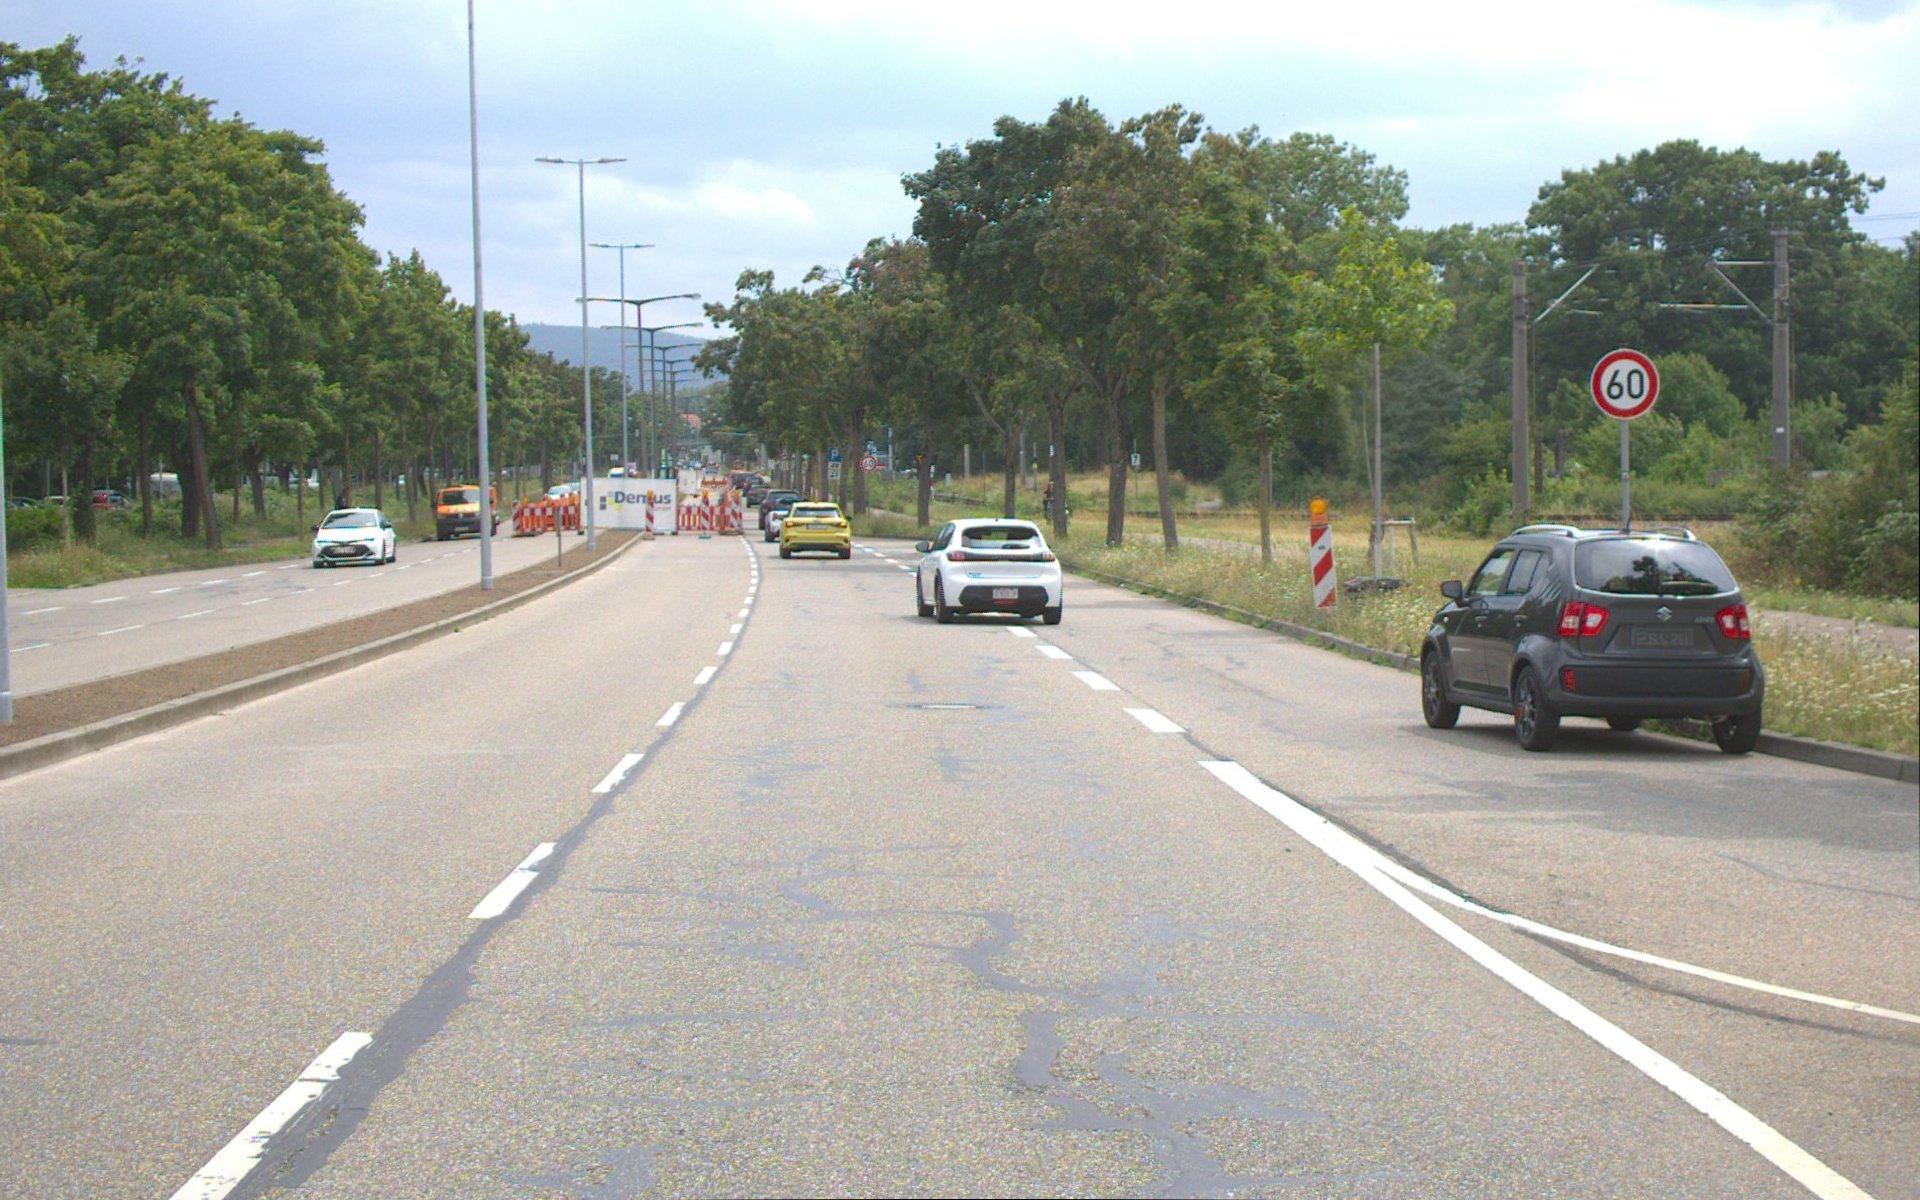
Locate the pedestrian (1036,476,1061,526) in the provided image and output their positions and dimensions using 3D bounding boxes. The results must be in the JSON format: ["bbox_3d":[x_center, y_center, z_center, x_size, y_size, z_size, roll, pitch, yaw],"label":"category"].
[{"bbox_3d":[3.019,-3.373,117.367,0.690,1.689,0.934,-1,2,-8],"label":"pedestrian"}]

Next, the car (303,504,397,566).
[{"bbox_3d":[-15.495,-1.675,87.472,1.716,1.415,4.161,-2,3,-2],"label":"car"}]

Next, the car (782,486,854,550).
[{"bbox_3d":[-3.642,-2.129,88.372,1.793,1.556,4.001,-1,3,-2],"label":"car"}]

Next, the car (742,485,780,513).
[{"bbox_3d":[-12.329,-6.286,213.358,2.206,1.678,4.001,0,3,-1],"label":"car"}]

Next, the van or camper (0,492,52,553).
[{"bbox_3d":[-43.839,-3.531,157.449,3.986,2.746,1.927,-1,2,-3],"label":"van or camper"}]

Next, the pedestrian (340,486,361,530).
[{"bbox_3d":[-25.922,-3.913,146.267,0.690,1.832,0.651,-2,3,-25],"label":"pedestrian"}]

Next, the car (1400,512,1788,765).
[{"bbox_3d":[4.577,0.216,25.419,1.703,1.662,4.001,0,2,-7],"label":"car"}]

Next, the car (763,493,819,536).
[{"bbox_3d":[-5.302,-2.694,108.196,1.667,1.265,4.001,-1,3,-2],"label":"car"}]

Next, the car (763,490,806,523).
[{"bbox_3d":[-7.066,-3.802,138.936,1.667,1.265,4.001,-1,3,-2],"label":"car"}]

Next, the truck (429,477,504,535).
[{"bbox_3d":[-18.212,-3.502,127.124,2.088,1.987,6.040,-2,3,-2],"label":"truck"}]

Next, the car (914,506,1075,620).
[{"bbox_3d":[0.440,-0.553,48.379,1.766,1.459,4.001,-1,3,-6],"label":"car"}]
